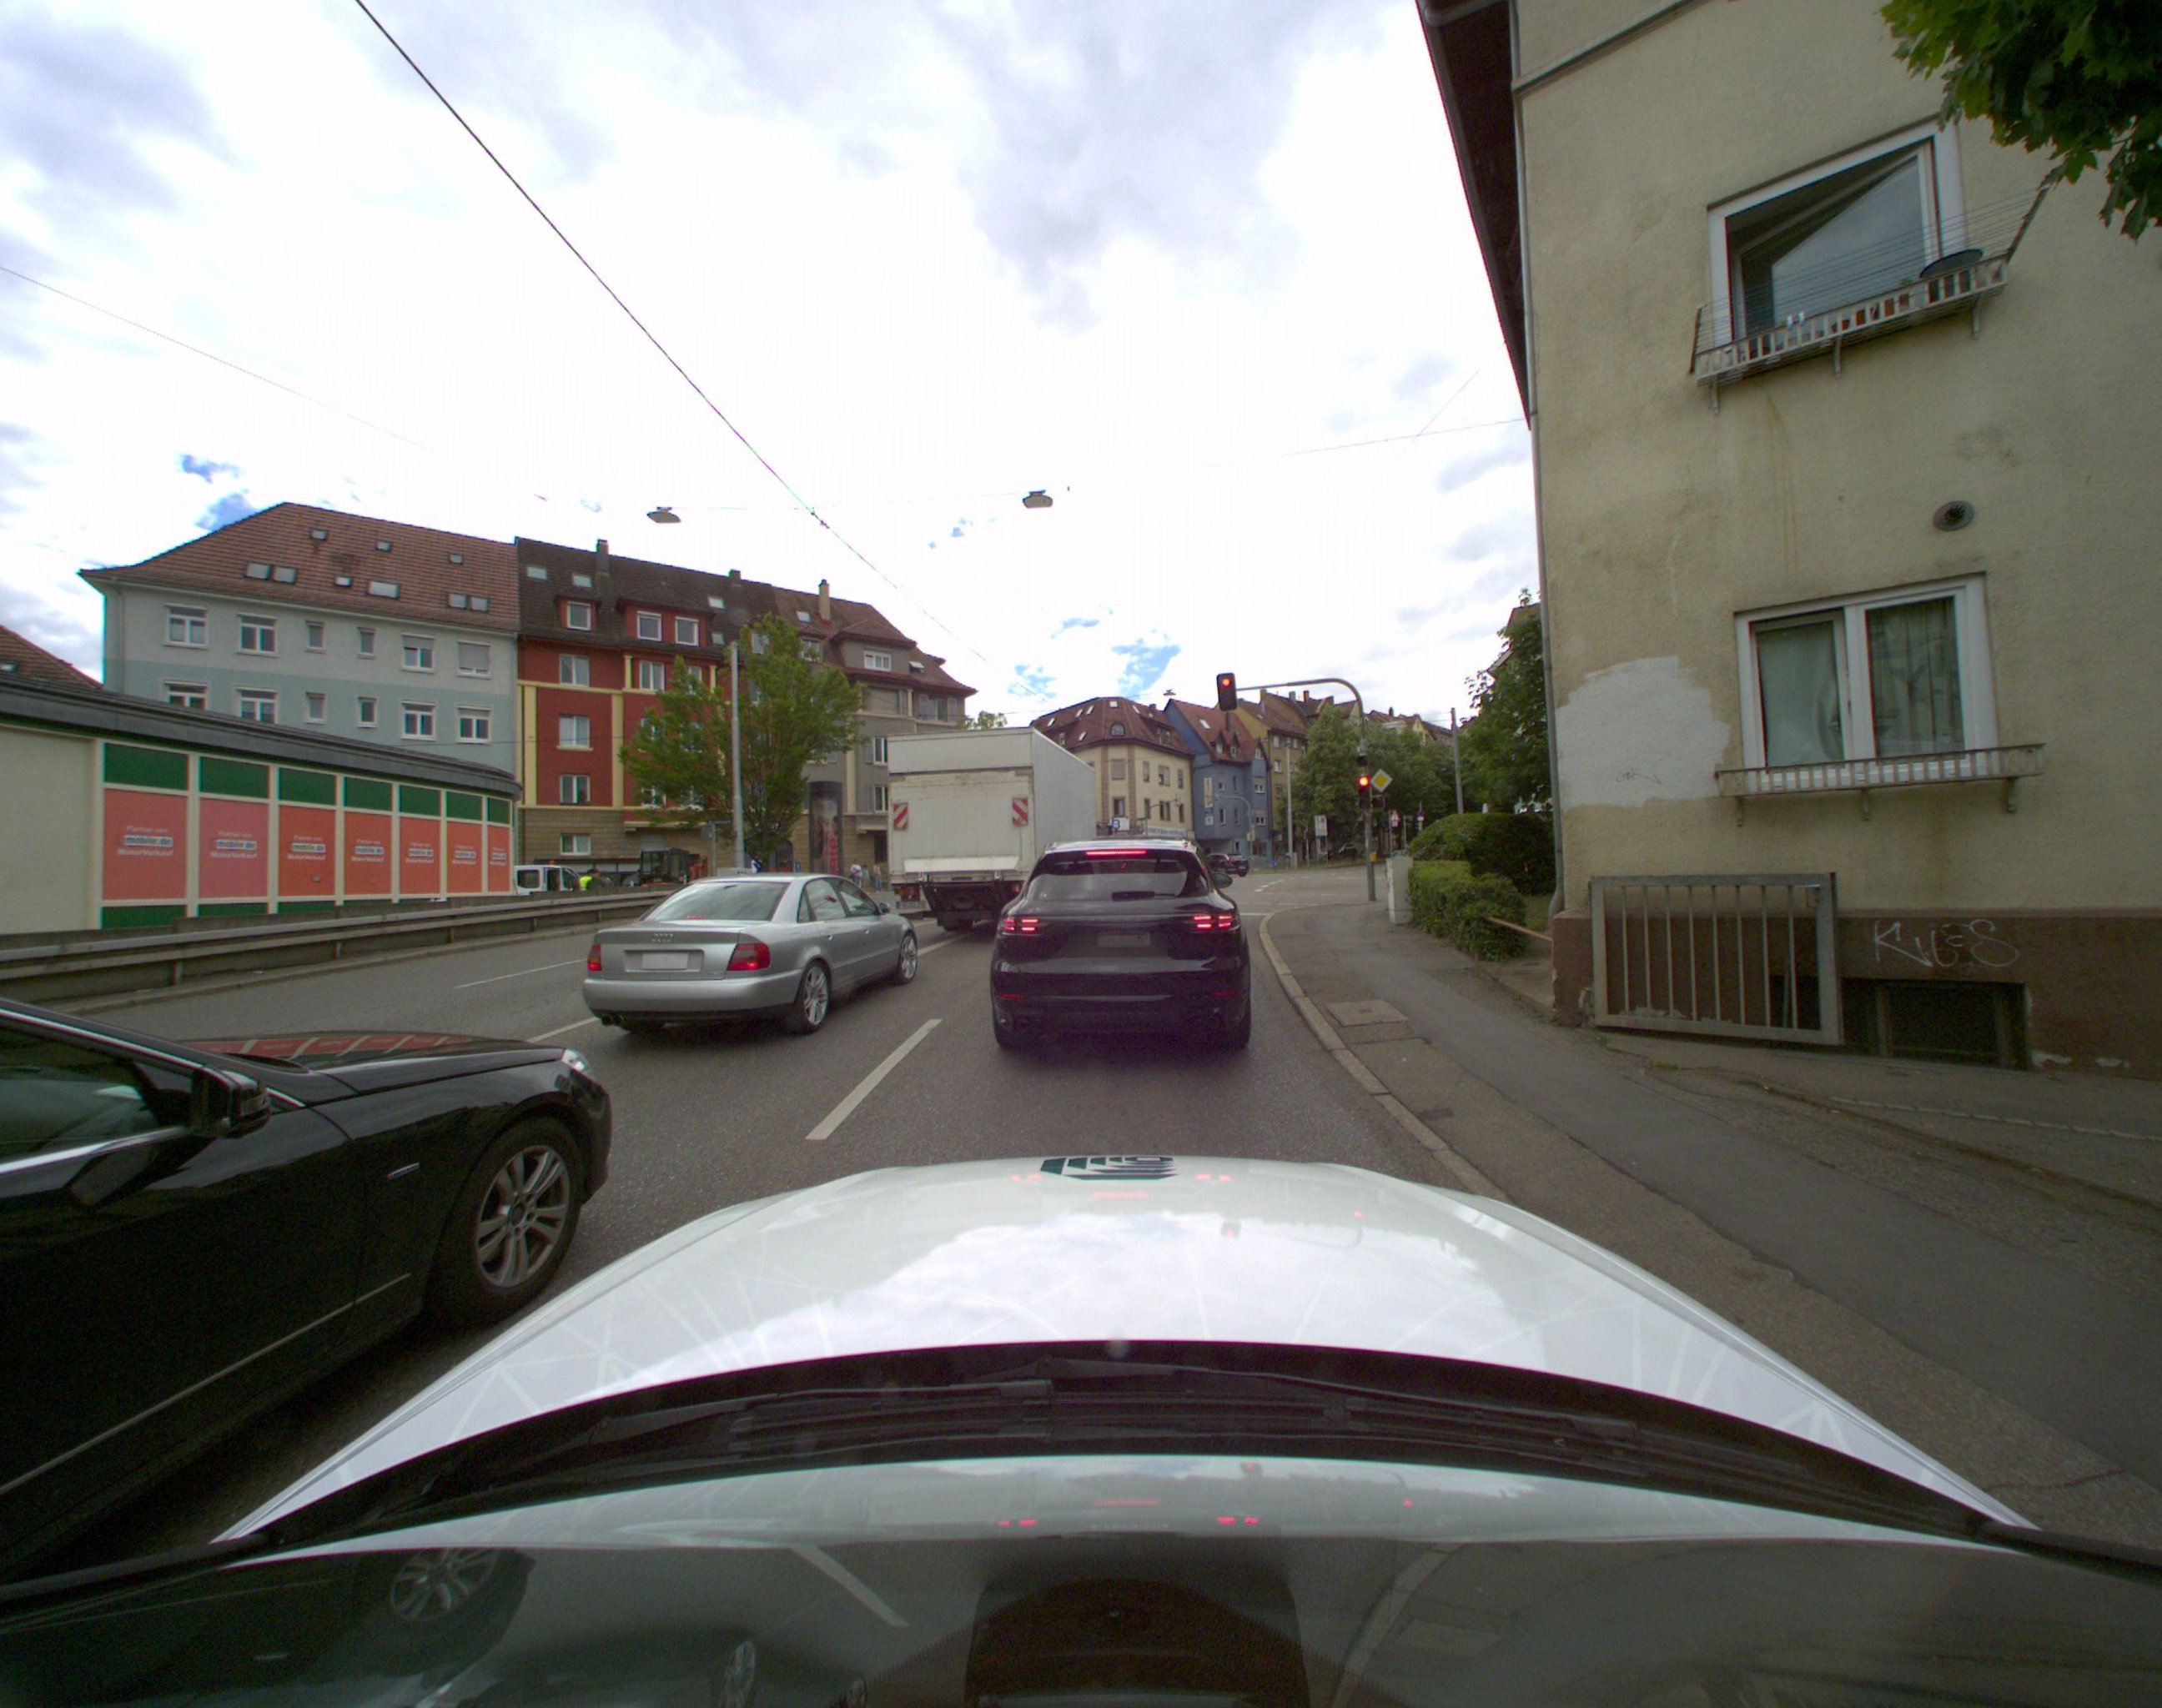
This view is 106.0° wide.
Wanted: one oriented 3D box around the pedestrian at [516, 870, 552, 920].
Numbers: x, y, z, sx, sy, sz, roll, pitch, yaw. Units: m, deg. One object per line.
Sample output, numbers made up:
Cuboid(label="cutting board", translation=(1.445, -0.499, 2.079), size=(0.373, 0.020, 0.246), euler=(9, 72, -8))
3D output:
Cuboid(label="pedestrian", translation=(-15.609, 1.160, 23.247), size=(0.594, 1.363, 0.630), euler=(-2, 0, 35))

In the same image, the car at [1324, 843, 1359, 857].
Cuboid(label="car", translation=(28.089, -0.447, 87.748), size=(1.852, 1.416, 4.727), euler=(-1, -1, 43))

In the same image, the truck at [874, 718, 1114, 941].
Cuboid(label="truck", translation=(-1.290, -0.394, 17.507), size=(2.708, 3.544, 8.446), euler=(-2, 0, 10))

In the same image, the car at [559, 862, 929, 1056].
Cuboid(label="car", translation=(-2.956, 0.828, 8.233), size=(1.620, 1.365, 4.135), euler=(-2, 0, 6))

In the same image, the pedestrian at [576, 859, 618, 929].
Cuboid(label="pedestrian", translation=(-11.833, 0.968, 19.943), size=(0.690, 1.637, 0.774), euler=(-2, 0, -19))

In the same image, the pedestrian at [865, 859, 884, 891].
Cuboid(label="pedestrian", translation=(-9.633, 0.984, 37.984), size=(0.657, 1.487, 0.517), euler=(-2, 0, -40))

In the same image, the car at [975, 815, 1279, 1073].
Cuboid(label="car", translation=(0.378, 0.617, 7.725), size=(2.024, 1.723, 4.502), euler=(0, 0, 2))

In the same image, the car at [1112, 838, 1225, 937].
Cuboid(label="car", translation=(1.703, 0.561, 14.860), size=(1.638, 1.556, 3.595), euler=(-2, -1, 12))

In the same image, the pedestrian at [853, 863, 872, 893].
Cuboid(label="pedestrian", translation=(-10.020, 1.089, 37.380), size=(0.568, 1.338, 0.588), euler=(-2, 0, 36))

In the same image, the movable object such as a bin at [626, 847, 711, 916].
Cuboid(label="movable object such as a bin", translation=(-13.146, 0.841, 26.146), size=(1.375, 2.013, 3.524), euler=(-2, 0, -10))

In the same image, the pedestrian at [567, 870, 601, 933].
Cuboid(label="pedestrian", translation=(-16.321, 1.535, 26.768), size=(0.827, 2.013, 0.675), euler=(-1, 0, -23))

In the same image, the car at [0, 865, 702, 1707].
Cuboid(label="car", translation=(-2.872, 0.805, 1.409), size=(1.986, 1.429, 4.844), euler=(-2, 0, 2))

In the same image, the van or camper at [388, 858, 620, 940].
Cuboid(label="van or camper", translation=(-18.987, 1.385, 27.256), size=(6.028, 2.338, 2.661), euler=(-1, 0, -33))

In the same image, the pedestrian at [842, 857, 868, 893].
Cuboid(label="pedestrian", translation=(-10.180, 0.950, 36.665), size=(0.785, 1.546, 0.743), euler=(-2, 0, 28))

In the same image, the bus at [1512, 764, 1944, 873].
Cuboid(label="bus", translation=(22.879, -0.989, 30.145), size=(3.181, 3.096, 12.018), euler=(-2, -1, -35))

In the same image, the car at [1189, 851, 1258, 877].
Cuboid(label="car", translation=(8.799, 0.597, 50.651), size=(2.008, 1.530, 3.957), euler=(0, 0, -35))
